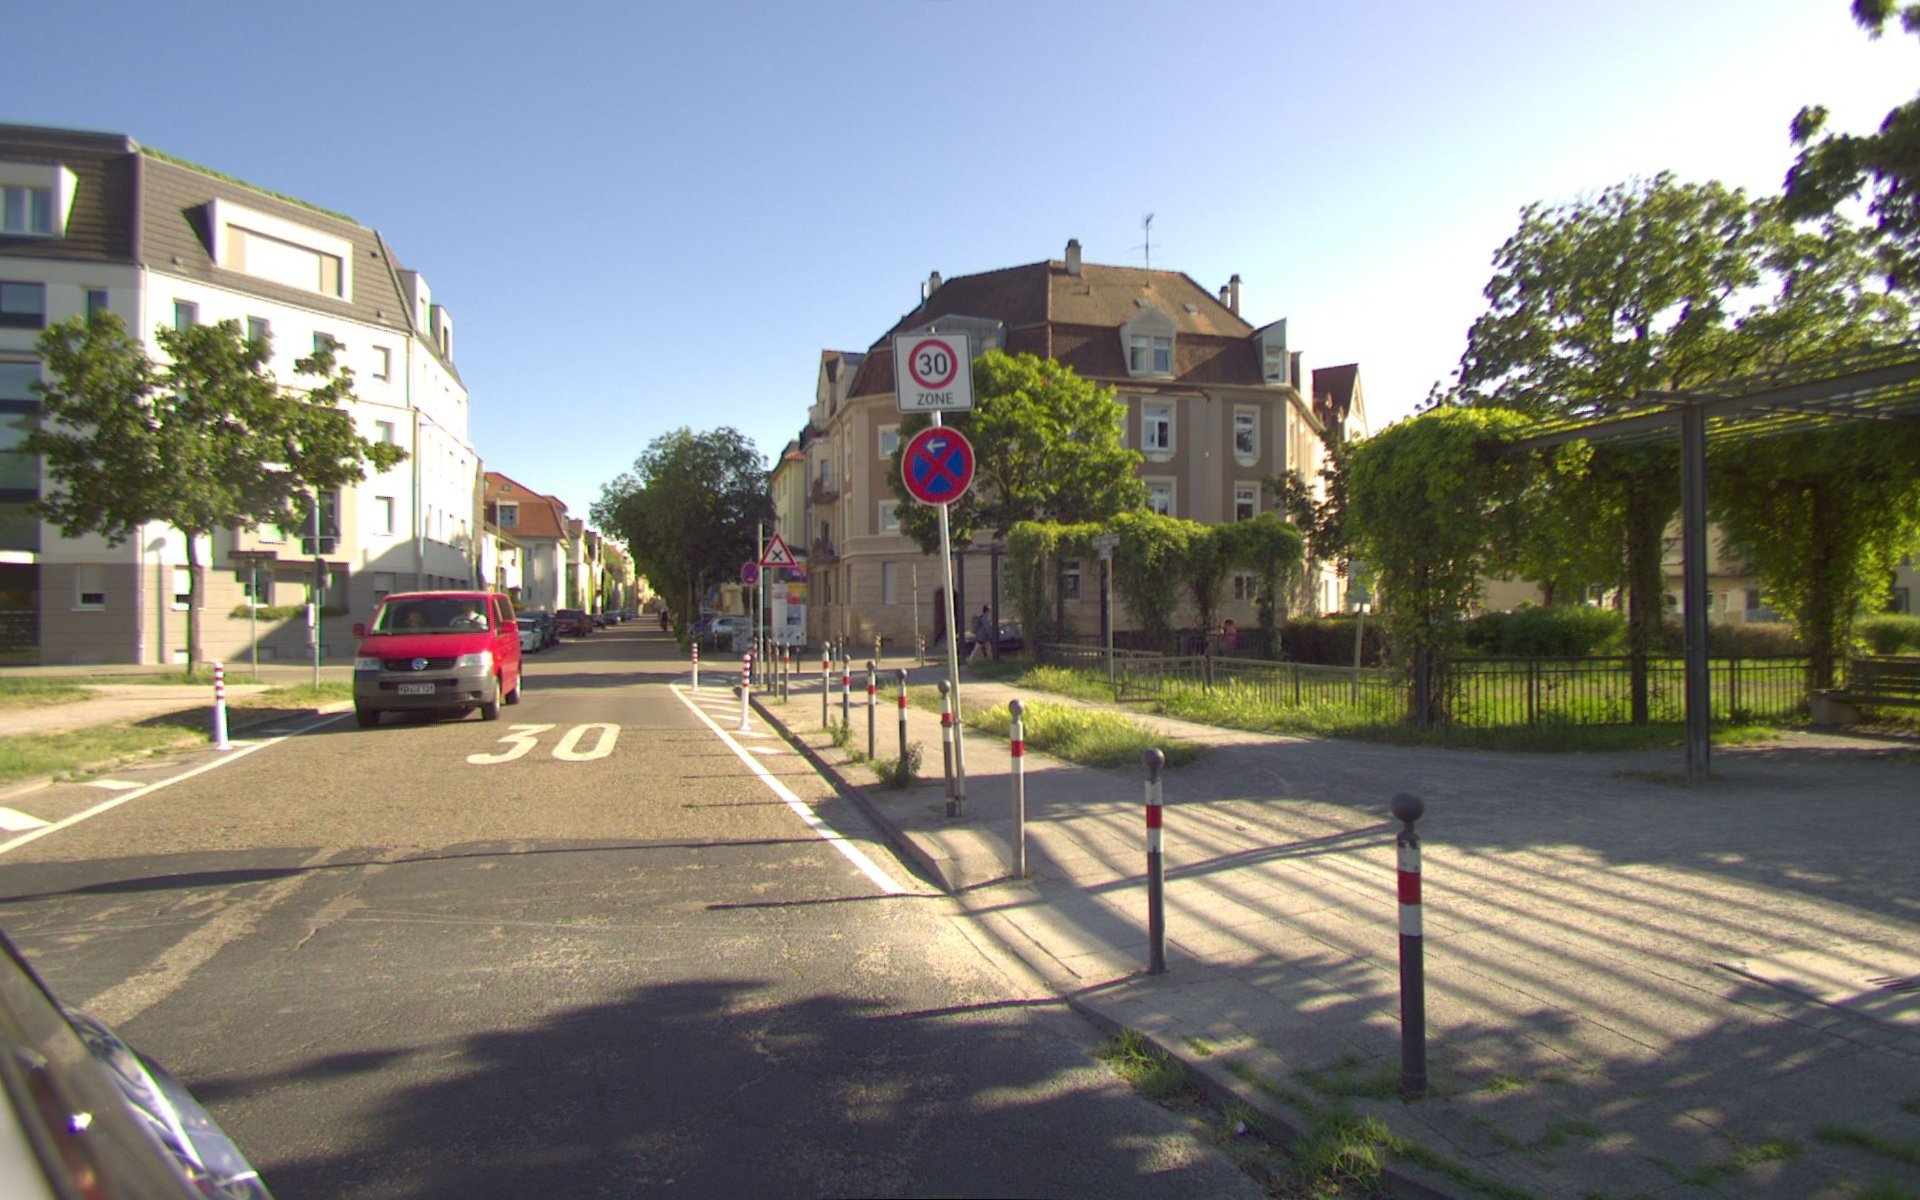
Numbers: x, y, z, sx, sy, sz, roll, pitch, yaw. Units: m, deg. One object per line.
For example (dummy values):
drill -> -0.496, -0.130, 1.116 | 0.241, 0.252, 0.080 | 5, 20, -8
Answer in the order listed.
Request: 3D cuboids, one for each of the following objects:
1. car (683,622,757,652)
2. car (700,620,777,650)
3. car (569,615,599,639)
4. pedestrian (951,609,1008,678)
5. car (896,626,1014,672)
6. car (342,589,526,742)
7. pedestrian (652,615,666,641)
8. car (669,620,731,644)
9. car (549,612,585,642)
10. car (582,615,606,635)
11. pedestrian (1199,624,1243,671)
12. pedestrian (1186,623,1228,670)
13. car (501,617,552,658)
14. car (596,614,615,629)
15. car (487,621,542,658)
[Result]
car -> -12.951, 1.959, 54.646 | 3.726, 1.506, 1.697 | -1, -1, -19
car -> -11.566, 1.794, 52.769 | 3.726, 1.455, 1.697 | -1, -1, -19
car -> -30.781, 2.204, 82.911 | 1.854, 1.885, 4.414 | 3, -2, -16
pedestrian -> 0.513, 1.104, 26.275 | 1.072, 1.686, 0.916 | -3, 1, -34
car -> -0.203, 1.781, 37.553 | 3.945, 1.494, 1.874 | 0, 2, -19
car -> -8.157, 0.988, 16.133 | 1.864, 1.975, 4.901 | -2, -2, -19
pedestrian -> -24.212, 2.260, 81.439 | 1.006, 2.029, 1.074 | 0, -2, -17
car -> -17.526, 2.139, 68.309 | 3.726, 1.506, 1.697 | -1, -1, -29
car -> -26.940, 1.852, 69.474 | 1.854, 1.885, 4.414 | 3, -2, -16
car -> -35.379, 2.437, 97.896 | 1.853, 1.886, 4.414 | 0, -1, -16
pedestrian -> 6.415, 1.157, 24.907 | 0.860, 1.147, 0.601 | 0, -2, -15
pedestrian -> 6.245, 1.173, 25.569 | 0.832, 1.158, 0.601 | 0, -2, -15
car -> -20.716, 1.765, 48.515 | 1.638, 1.849, 4.269 | 3, -2, -16
car -> -43.104, 2.629, 123.087 | 1.853, 1.757, 4.414 | 0, -1, -16
car -> -19.413, 1.698, 44.229 | 1.638, 1.459, 3.699 | 3, -2, -16
